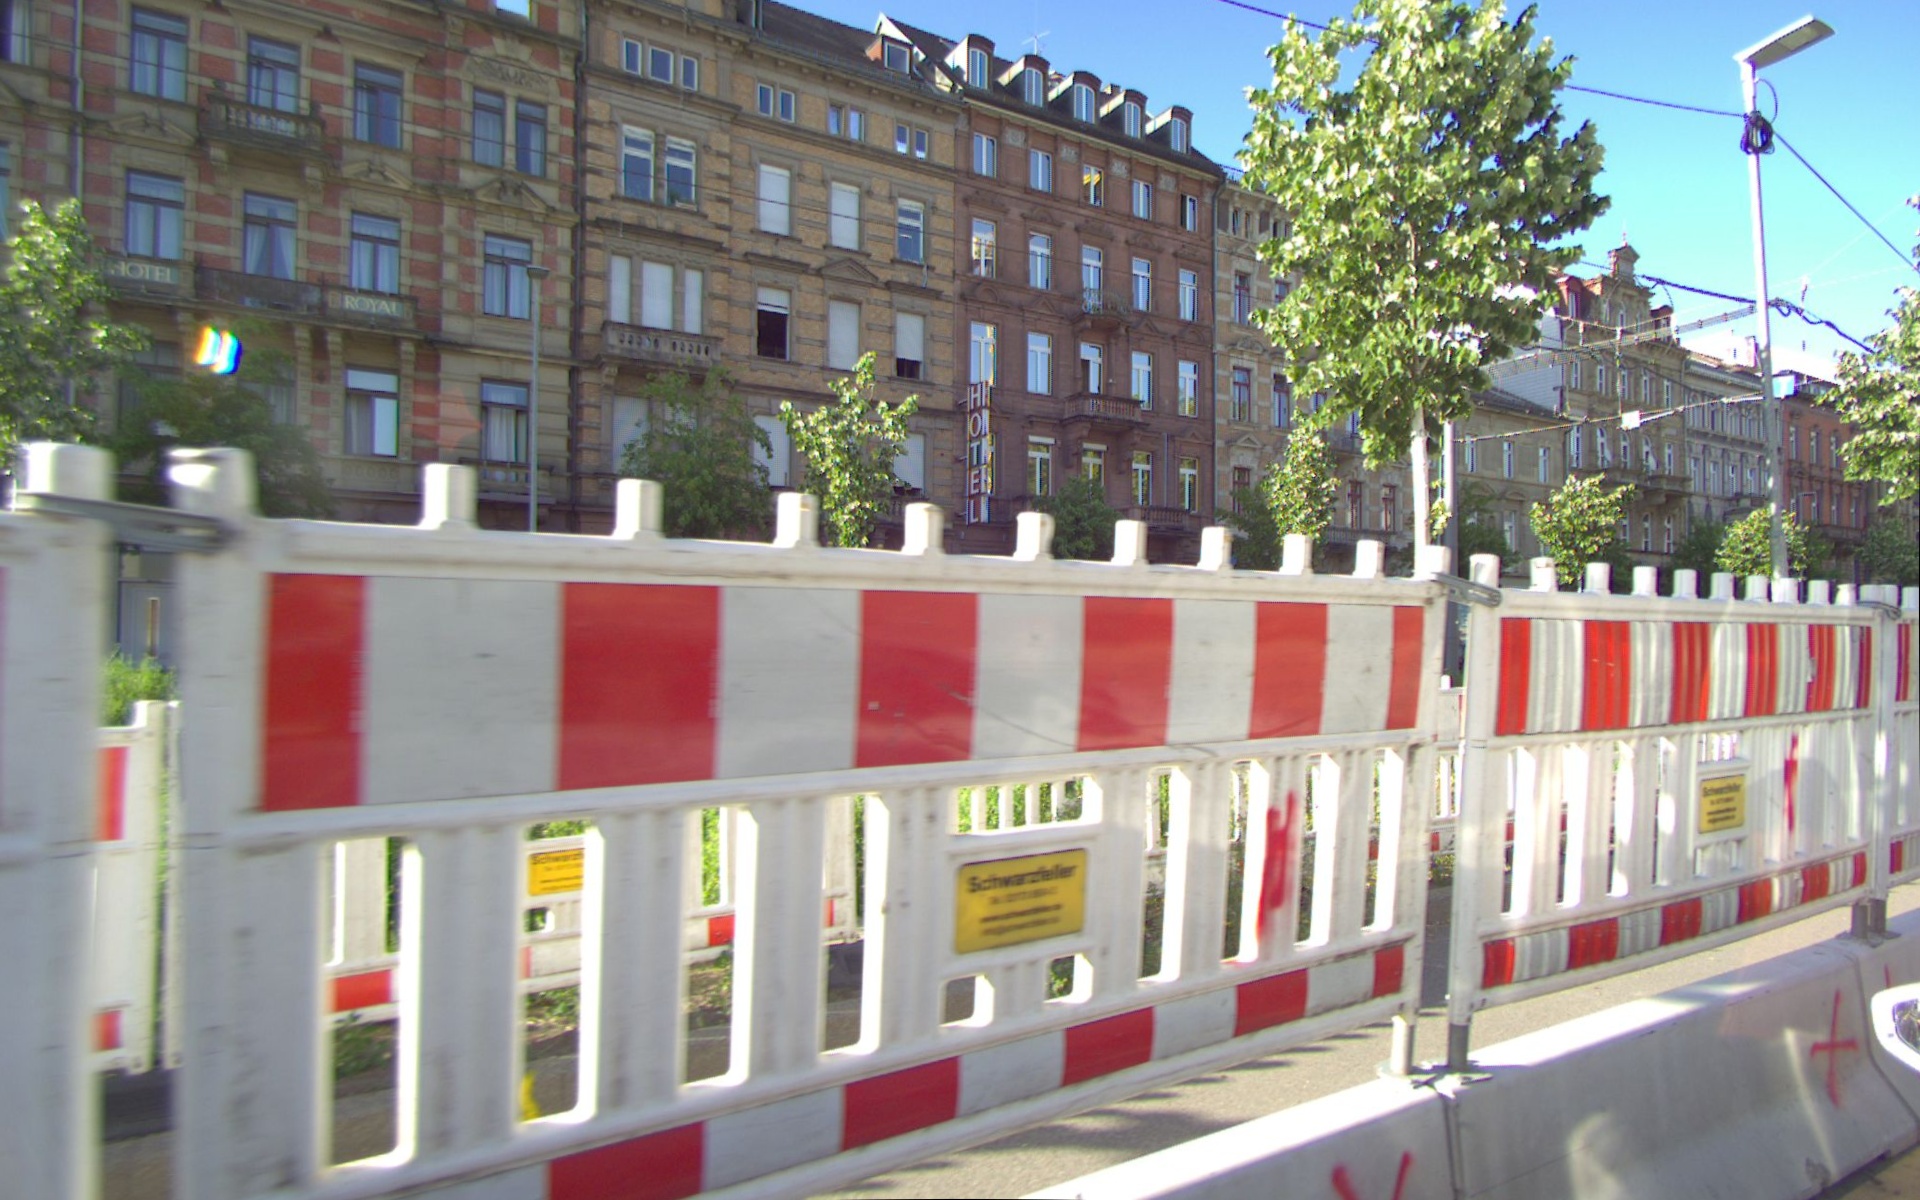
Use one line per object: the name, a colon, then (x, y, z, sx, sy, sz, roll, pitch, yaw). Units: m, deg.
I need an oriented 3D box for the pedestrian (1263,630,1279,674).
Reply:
pedestrian: (11.519, 1.938, 37.235, 0.335, 1.606, 0.427, 2, 0, -28)

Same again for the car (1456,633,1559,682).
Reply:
car: (19.967, 2.059, 36.590, 3.763, 1.697, 1.559, 1, -2, -30)

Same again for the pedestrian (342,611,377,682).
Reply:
pedestrian: (-13.888, 1.057, 23.235, 0.474, 1.606, 0.482, 2, 0, 7)

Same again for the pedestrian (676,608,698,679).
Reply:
pedestrian: (-6.928, 1.099, 25.486, 0.401, 1.788, 0.505, 2, 0, -29)

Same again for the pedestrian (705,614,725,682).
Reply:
pedestrian: (-6.597, 1.291, 27.025, 0.401, 1.788, 0.365, 2, 0, -29)

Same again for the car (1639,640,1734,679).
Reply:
car: (31.180, 2.505, 43.078, 4.659, 1.583, 1.559, 1, -2, -30)

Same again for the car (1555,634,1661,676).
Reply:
car: (25.743, 2.165, 39.861, 4.658, 1.583, 1.559, 1, -2, -30)

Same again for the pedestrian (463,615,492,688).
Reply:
pedestrian: (-10.924, 1.156, 22.739, 0.527, 1.606, 0.484, 2, 0, -29)

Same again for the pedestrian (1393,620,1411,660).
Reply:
pedestrian: (18.099, 1.637, 41.146, 0.431, 1.606, 0.457, 2, 0, -36)

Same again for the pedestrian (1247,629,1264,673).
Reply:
pedestrian: (11.150, 1.920, 37.911, 0.381, 1.606, 0.431, 2, 0, -32)

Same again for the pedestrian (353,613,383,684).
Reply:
pedestrian: (-13.574, 1.108, 23.033, 0.361, 1.606, 0.406, 2, 0, 22)

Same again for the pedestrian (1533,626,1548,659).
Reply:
pedestrian: (27.295, 1.988, 47.253, 0.430, 1.555, 0.403, 2, 0, -29)

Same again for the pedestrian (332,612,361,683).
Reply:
pedestrian: (-14.184, 1.094, 23.232, 0.383, 1.606, 0.386, 2, 0, 2)

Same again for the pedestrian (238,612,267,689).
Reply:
pedestrian: (-15.006, 1.068, 21.322, 0.420, 1.606, 0.401, 2, 0, -29)
